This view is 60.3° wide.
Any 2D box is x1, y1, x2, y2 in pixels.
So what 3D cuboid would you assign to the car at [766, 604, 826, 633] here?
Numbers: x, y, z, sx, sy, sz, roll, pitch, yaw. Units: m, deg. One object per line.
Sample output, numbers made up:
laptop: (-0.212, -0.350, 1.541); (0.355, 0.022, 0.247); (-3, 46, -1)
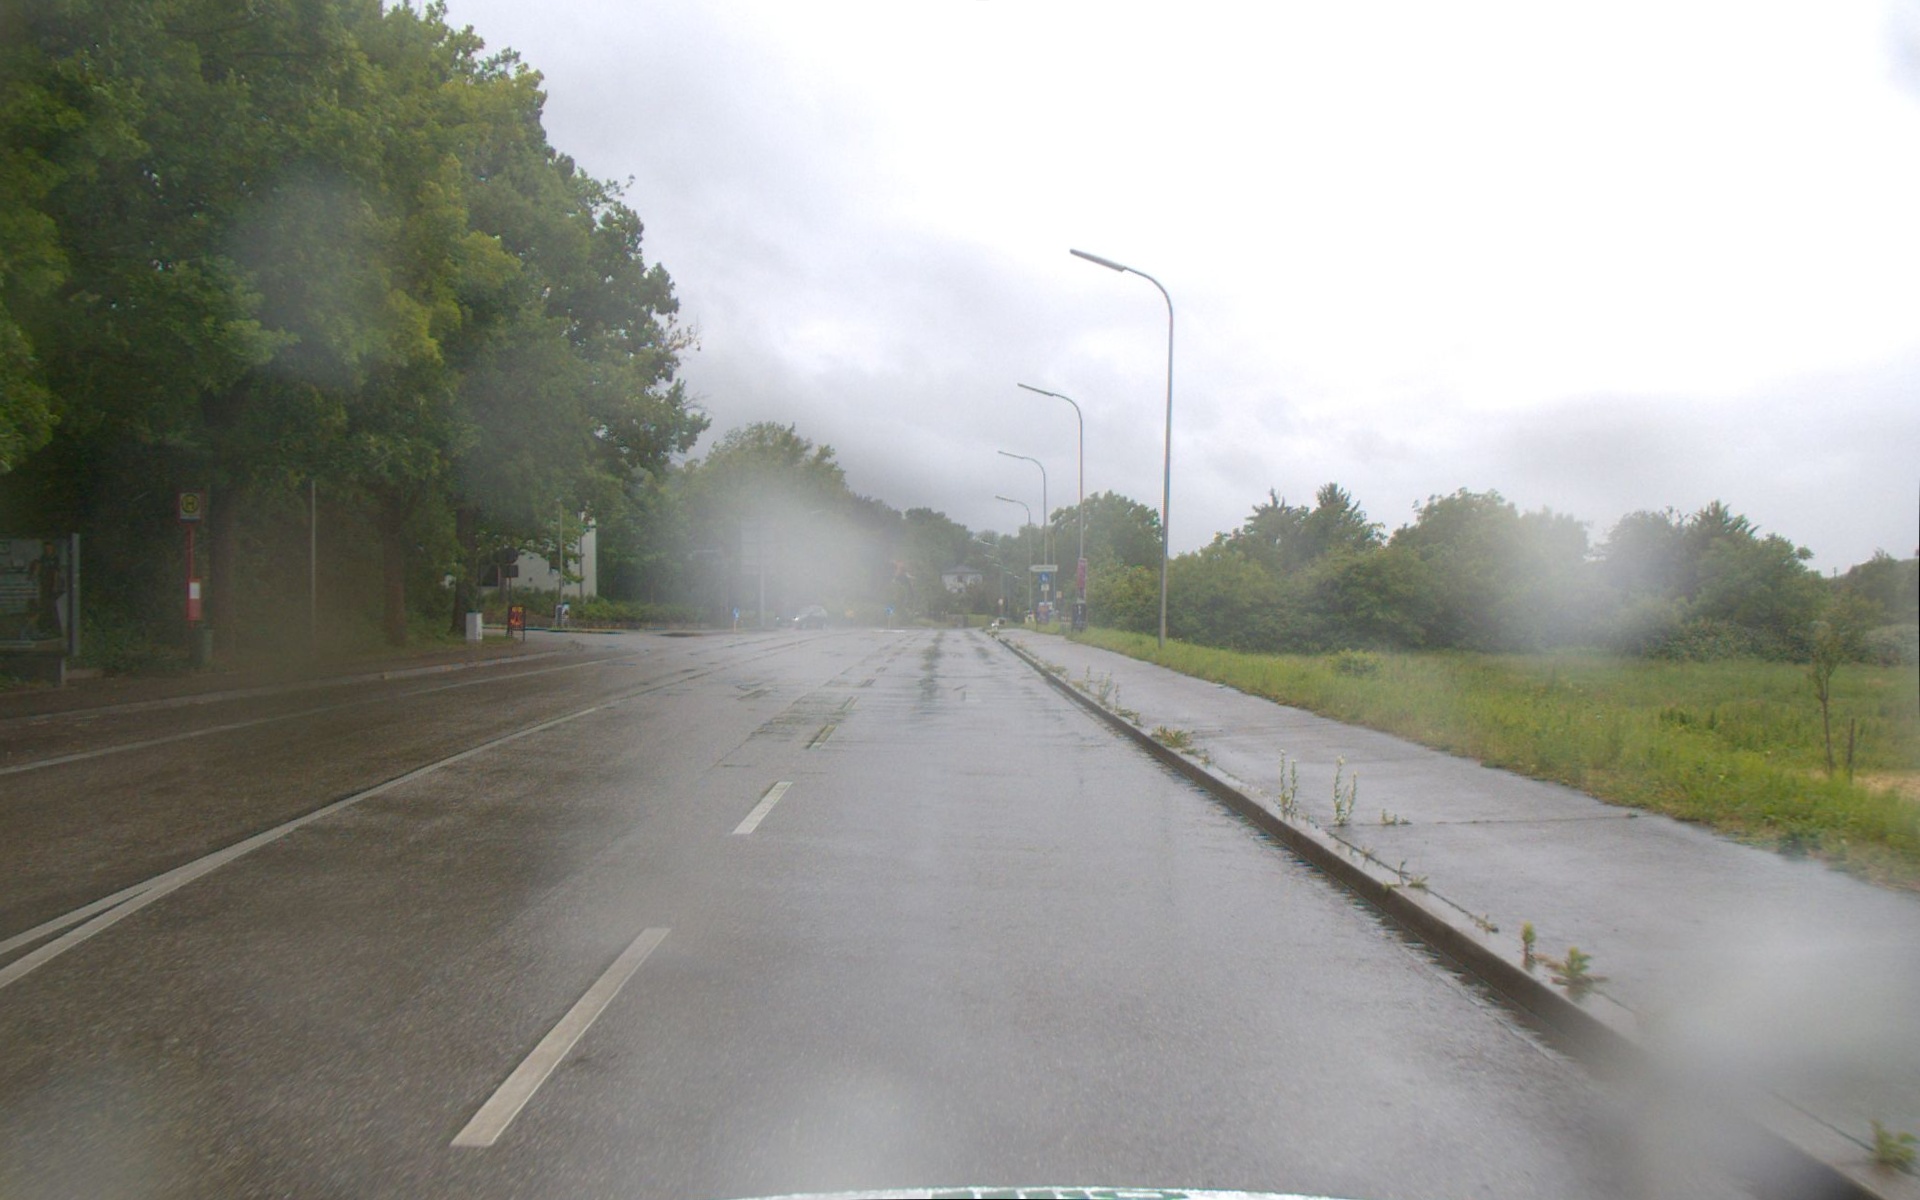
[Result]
car: (-10.534, 1.183, 106.455); (1.762, 1.793, 3.989); (1, 0, 32)
